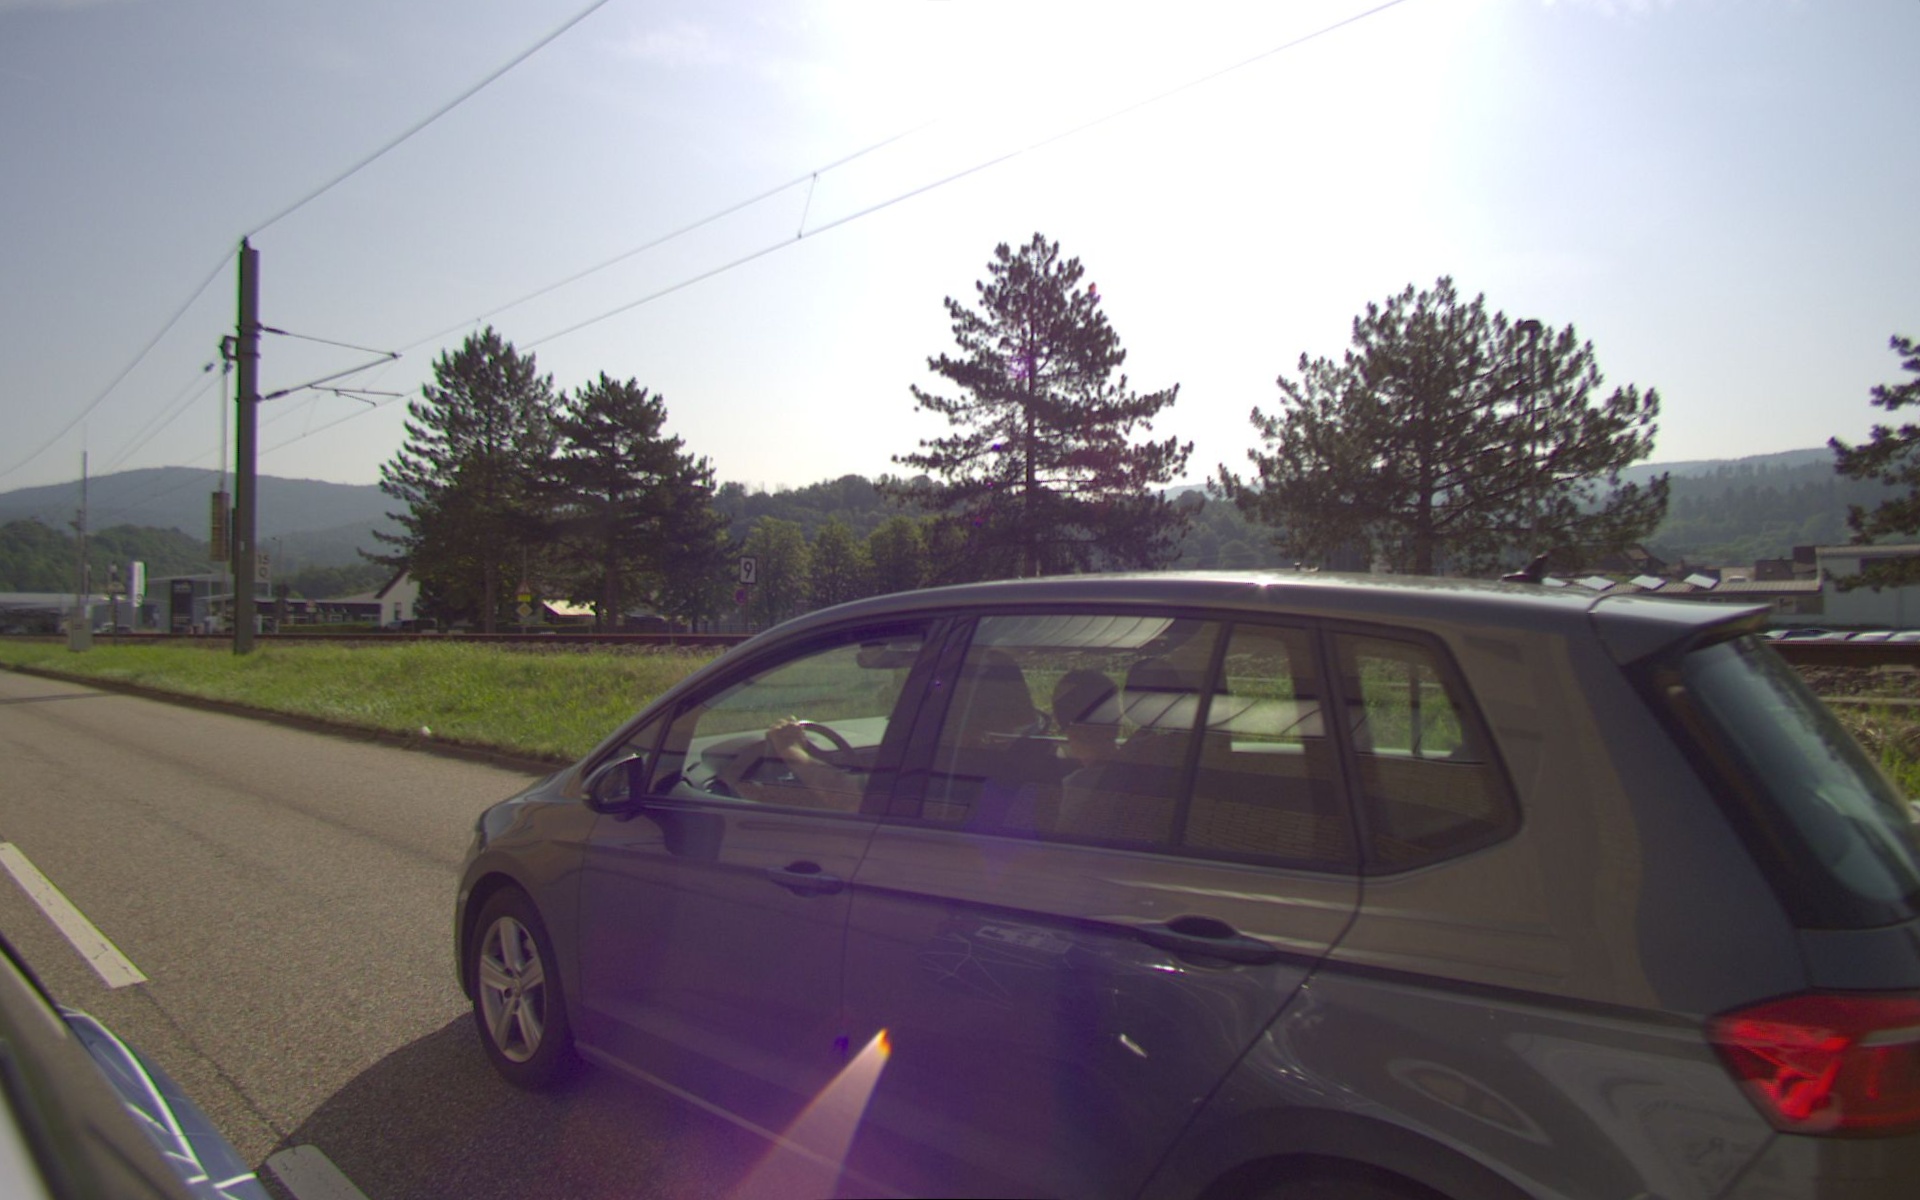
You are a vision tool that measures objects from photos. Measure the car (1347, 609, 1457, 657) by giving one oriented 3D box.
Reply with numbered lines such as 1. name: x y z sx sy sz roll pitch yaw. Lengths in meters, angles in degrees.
1. car: 13.314 1.007 30.727 1.496 1.368 3.525 0 -2 -6

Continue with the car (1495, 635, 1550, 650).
1. car: 43.943 3.300 79.099 3.533 1.119 1.321 -1 -2 39

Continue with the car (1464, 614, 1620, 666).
1. car: 15.975 1.086 28.001 1.539 1.335 3.866 1 -2 -11

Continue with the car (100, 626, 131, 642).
1. car: -97.378 3.917 116.657 4.357 1.701 1.506 -1 0 33

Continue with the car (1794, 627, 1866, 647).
1. car: 57.605 2.447 67.069 3.533 1.335 1.438 -1 -2 39

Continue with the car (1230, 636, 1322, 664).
1. car: 14.747 2.322 47.352 3.795 1.272 1.568 0 -2 -3

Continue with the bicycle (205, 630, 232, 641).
1. bicycle: -77.791 3.695 106.145 0.726 1.139 2.155 -1 -2 26

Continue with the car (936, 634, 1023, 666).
1. car: 0.856 2.264 46.047 3.795 1.454 1.689 0 -2 -3

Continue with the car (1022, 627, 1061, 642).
1. car: 8.406 3.507 104.251 3.842 1.492 1.478 -1 -2 34

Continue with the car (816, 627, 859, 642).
1. car: -12.086 3.388 100.161 3.954 1.464 1.465 0 -2 9

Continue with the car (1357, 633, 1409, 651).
1. car: 31.780 3.134 76.033 3.433 1.335 1.429 -1 -2 33

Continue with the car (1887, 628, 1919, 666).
1. car: 35.671 1.692 36.680 3.476 1.335 1.461 1 -2 -17

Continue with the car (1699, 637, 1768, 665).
1. car: 39.123 2.563 51.163 3.476 1.335 1.462 1 -2 -29

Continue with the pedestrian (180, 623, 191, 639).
1. pedestrian: -67.089 2.677 87.635 0.672 1.342 0.569 -1 -2 31

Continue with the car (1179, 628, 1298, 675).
1. car: 10.113 1.870 36.923 3.795 1.655 1.689 0 -2 -3

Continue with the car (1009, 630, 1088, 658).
1. car: 4.583 2.277 52.857 3.791 1.417 1.691 0 -2 -9

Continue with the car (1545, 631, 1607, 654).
1. car: 43.014 2.957 70.734 1.540 1.534 3.547 1 -2 -17

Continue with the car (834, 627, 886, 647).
1. car: -8.114 2.991 82.120 3.985 1.560 1.666 -1 -2 31

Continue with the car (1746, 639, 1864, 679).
1. car: 29.569 2.034 35.445 3.476 1.335 1.461 1 -2 -17

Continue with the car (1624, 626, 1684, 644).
1. car: 50.446 2.535 73.567 3.441 1.335 1.426 -1 -2 41

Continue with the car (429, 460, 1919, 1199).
1. car: 0.326 0.656 2.695 4.090 1.537 1.713 -1 -1 41

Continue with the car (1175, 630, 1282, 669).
1. car: 10.761 1.964 40.670 3.795 1.518 1.689 0 -2 -3

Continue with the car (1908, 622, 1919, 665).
1. car: 31.484 1.343 31.393 3.476 1.335 1.461 1 -2 -17

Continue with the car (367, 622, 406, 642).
1. car: -40.887 2.260 72.142 2.889 1.362 1.378 -1 -2 36
